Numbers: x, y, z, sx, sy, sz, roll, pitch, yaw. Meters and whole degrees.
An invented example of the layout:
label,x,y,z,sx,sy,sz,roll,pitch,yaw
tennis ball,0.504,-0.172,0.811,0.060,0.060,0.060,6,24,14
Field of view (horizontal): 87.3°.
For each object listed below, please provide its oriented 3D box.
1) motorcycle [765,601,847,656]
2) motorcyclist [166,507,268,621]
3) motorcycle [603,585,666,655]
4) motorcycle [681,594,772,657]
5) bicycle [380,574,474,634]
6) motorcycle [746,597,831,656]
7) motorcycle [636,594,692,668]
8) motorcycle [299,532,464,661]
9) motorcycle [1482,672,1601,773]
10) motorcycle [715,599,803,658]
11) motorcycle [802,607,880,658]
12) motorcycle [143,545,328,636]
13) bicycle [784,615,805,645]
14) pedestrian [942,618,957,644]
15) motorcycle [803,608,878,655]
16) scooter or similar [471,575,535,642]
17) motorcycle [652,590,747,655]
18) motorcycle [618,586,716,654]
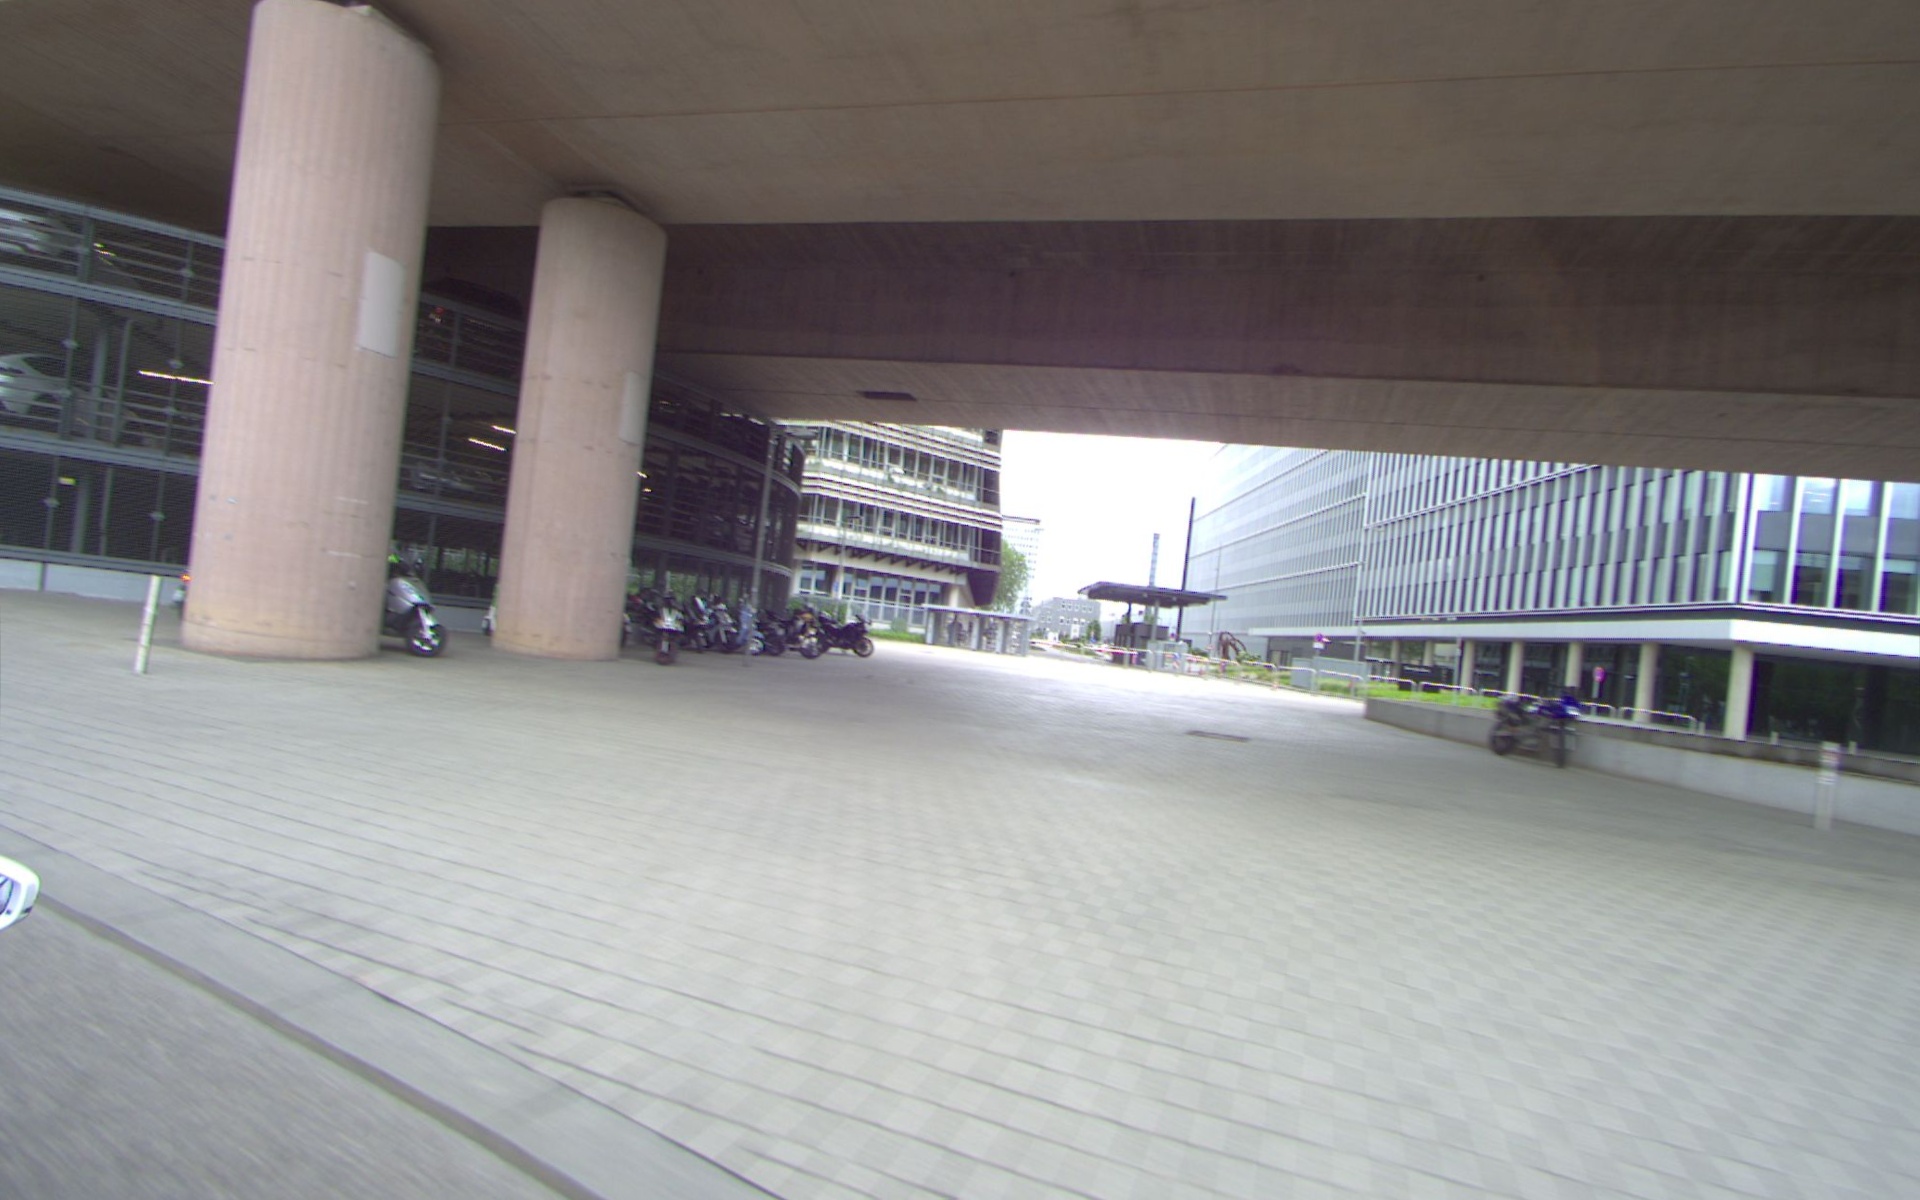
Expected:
label,x,y,z,sx,sy,sz,roll,pitch,yaw
motorcycle,-4.253,0.789,27.828,2.040,1.235,0.674,8,1,21
motorcyclist,-10.446,-0.498,14.147,0.753,1.437,0.866,8,1,38
motorcycle,-6.489,0.386,20.026,1.133,1.235,0.520,8,1,39
motorcycle,-5.761,0.626,24.798,2.040,1.235,0.674,8,1,21
bicycle,-10.408,0.095,19.668,1.468,0.988,0.446,8,0,-44
motorcycle,-4.606,0.717,27.013,2.040,1.302,0.674,8,1,21
motorcycle,-5.150,0.520,17.491,0.517,1.184,1.141,7,-2,-33
motorcycle,-7.821,-0.049,13.632,1.729,1.473,0.644,8,1,5
motorcycle,9.046,1.872,15.755,0.538,1.280,1.940,8,0,-1
motorcycle,-5.155,0.730,25.834,2.040,1.235,0.674,8,1,21
motorcycle,-3.854,1.052,32.569,2.320,1.291,0.674,8,1,21
motorcycle,-10.316,-0.112,14.397,0.737,1.035,1.949,8,0,38
bicycle,-5.620,1.005,34.237,0.467,0.906,1.504,8,0,-5
pedestrian,-0.631,1.875,61.596,0.489,1.500,0.543,8,1,38
motorcycle,-4.033,1.063,33.937,2.320,1.235,0.674,8,1,21
scooter or similar,-8.885,0.162,19.537,1.230,1.148,0.399,8,1,32
motorcycle,-6.166,0.532,23.806,2.040,1.235,0.674,8,1,21
motorcycle,-6.691,0.455,22.961,2.040,1.235,0.674,8,1,21
